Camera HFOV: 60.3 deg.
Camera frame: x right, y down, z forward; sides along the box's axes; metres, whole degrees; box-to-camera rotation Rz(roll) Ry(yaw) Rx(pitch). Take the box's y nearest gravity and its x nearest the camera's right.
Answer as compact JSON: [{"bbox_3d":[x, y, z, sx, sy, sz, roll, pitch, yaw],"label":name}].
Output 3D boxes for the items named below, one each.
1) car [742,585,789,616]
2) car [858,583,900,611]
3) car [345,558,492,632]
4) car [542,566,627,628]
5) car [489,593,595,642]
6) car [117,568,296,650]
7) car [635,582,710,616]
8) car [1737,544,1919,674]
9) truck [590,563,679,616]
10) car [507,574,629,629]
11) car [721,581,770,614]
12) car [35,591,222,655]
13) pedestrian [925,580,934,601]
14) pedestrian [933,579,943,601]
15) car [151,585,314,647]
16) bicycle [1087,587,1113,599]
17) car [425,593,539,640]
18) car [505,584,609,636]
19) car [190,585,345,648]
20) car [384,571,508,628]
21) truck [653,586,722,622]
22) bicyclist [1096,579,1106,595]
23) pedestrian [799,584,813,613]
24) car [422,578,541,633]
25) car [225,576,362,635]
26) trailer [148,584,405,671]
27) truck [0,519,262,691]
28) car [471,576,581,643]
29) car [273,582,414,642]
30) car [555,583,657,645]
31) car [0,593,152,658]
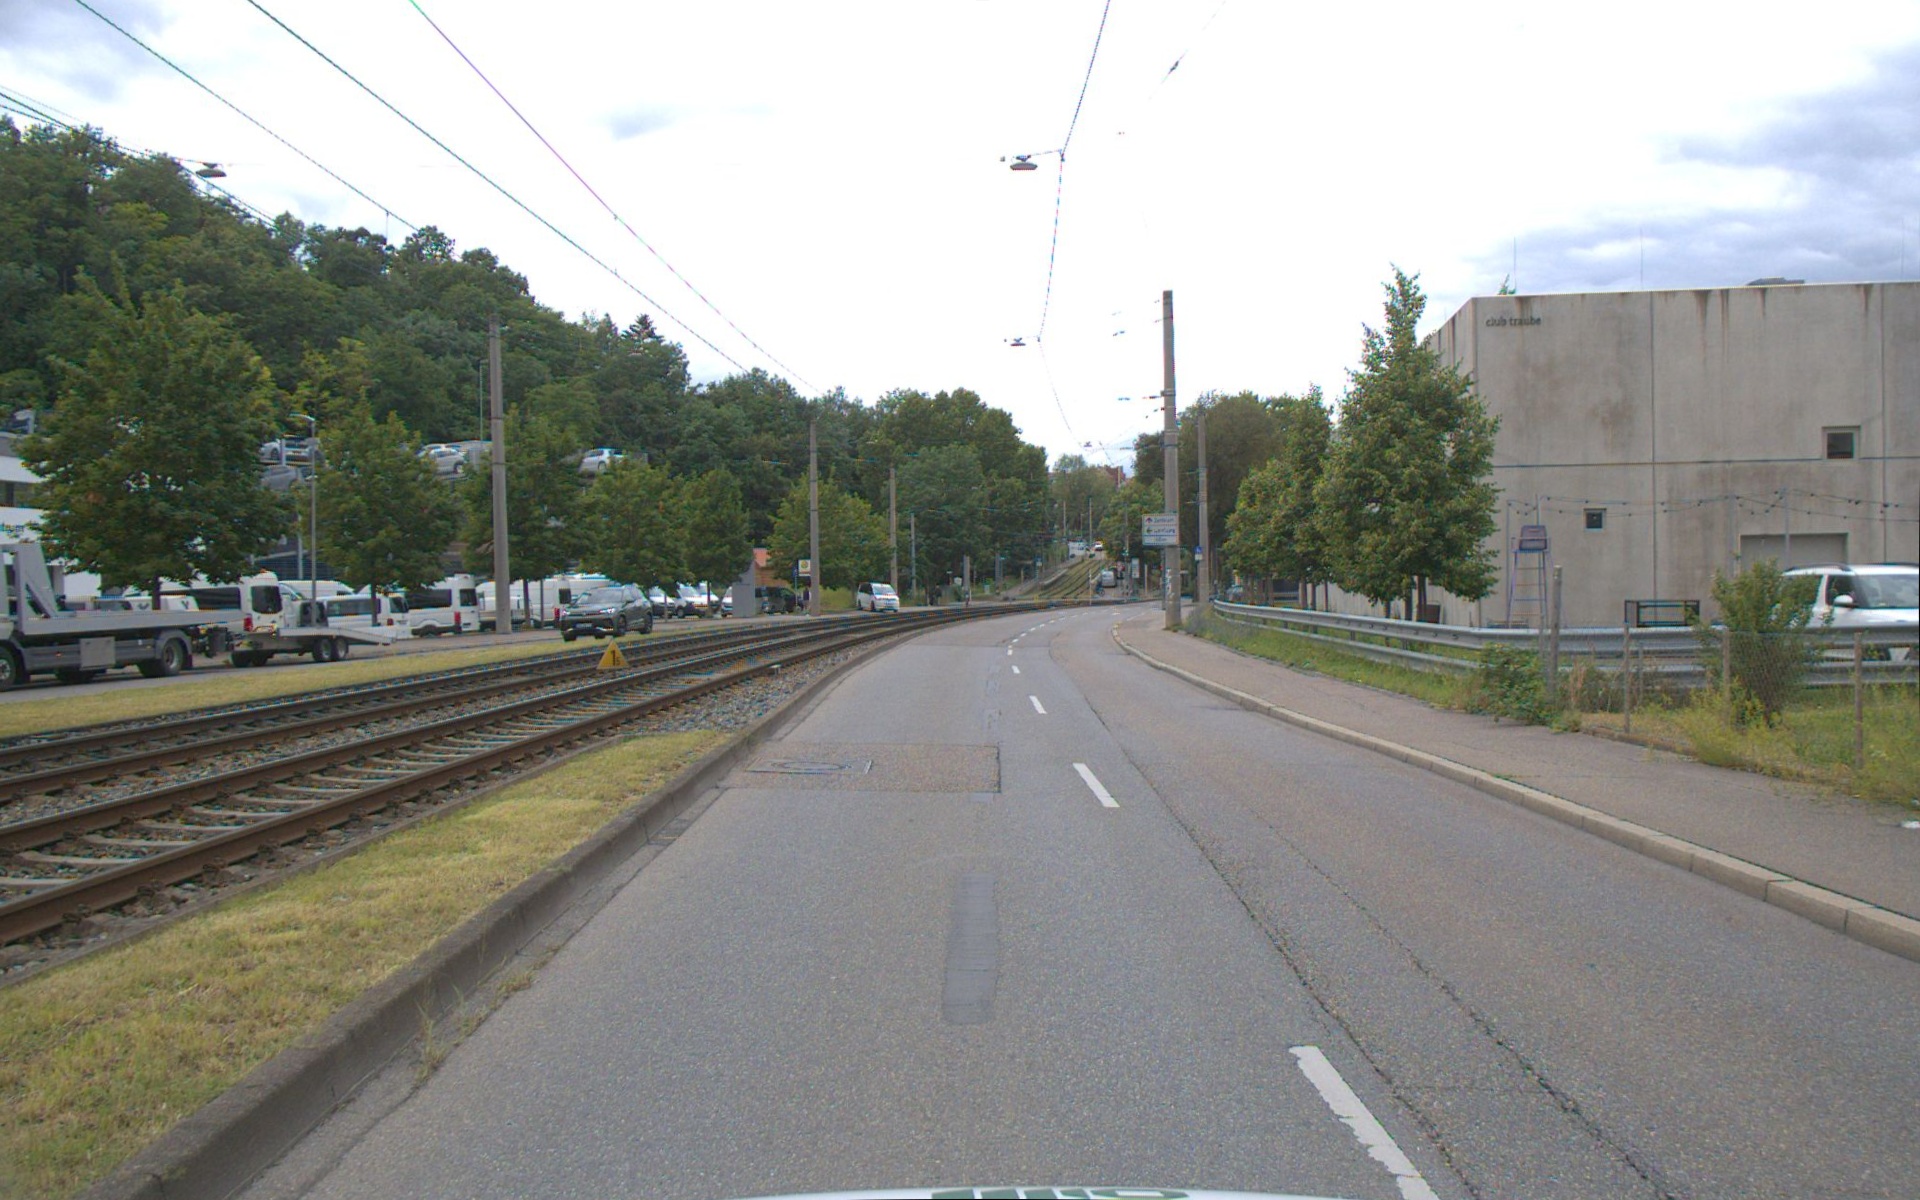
[{"bbox_3d":[-13.300,-0.015,113.447,1.951,2.049,5.134,-1,0,8],"label":"car"},{"bbox_3d":[-5.790,-0.238,118.274,2.122,1.921,5.056,1,1,-13],"label":"car"},{"bbox_3d":[-20.762,-0.193,63.524,4.860,2.745,2.117,-1,0,5],"label":"car"},{"bbox_3d":[-19.650,-0.181,86.747,2.062,3.072,5.942,-1,0,11],"label":"car"},{"bbox_3d":[-19.191,0.789,76.004,4.273,2.142,2.005,-1,0,5],"label":"car"},{"bbox_3d":[-22.433,0.264,49.340,4.400,2.351,2.127,-1,0,10],"label":"car"},{"bbox_3d":[-17.979,-0.037,103.443,4.637,2.049,1.992,-1,0,37],"label":"car"},{"bbox_3d":[12.526,0.081,22.680,1.713,1.601,4.431,1,1,1],"label":"car"},{"bbox_3d":[-20.052,-0.632,101.765,5.826,3.139,2.110,-1,0,39],"label":"truck"},{"bbox_3d":[-19.288,0.067,81.529,5.355,2.647,2.249,-1,0,9],"label":"car"},{"bbox_3d":[-13.906,-0.182,107.437,1.951,2.049,4.923,-1,0,7],"label":"car"},{"bbox_3d":[-23.485,0.640,46.784,4.273,1.718,2.033,-1,0,6],"label":"car"},{"bbox_3d":[-2.602,-0.838,142.098,0.614,1.743,0.856,1,1,12],"label":"pedestrian"},{"bbox_3d":[-1.865,-0.857,142.093,0.662,1.844,0.856,1,1,12],"label":"pedestrian"},{"bbox_3d":[-22.866,0.496,52.023,4.272,1.877,2.006,-1,0,10],"label":"car"},{"bbox_3d":[16.842,-0.849,198.981,2.930,1.367,0.825,-1,0,-8],"label":"bicycle"},{"bbox_3d":[-20.622,0.713,71.480,4.273,1.944,2.005,-1,0,5],"label":"car"},{"bbox_3d":[-19.100,0.454,78.494,4.274,2.141,2.005,4,1,5],"label":"car"},{"bbox_3d":[-22.689,0.543,54.274,4.272,1.981,2.006,-1,0,10],"label":"car"},{"bbox_3d":[-20.533,-0.019,66.148,4.273,2.211,2.005,-1,0,5],"label":"car"},{"bbox_3d":[-21.152,0.320,128.167,4.968,2.633,2.461,-1,0,35],"label":"truck"},{"bbox_3d":[16.997,-1.519,198.998,1.028,1.881,0.822,-2,1,-8],"label":"bicyclist"},{"bbox_3d":[-9.273,-0.084,99.690,0.703,1.684,1.043,1,1,2],"label":"pedestrian"},{"bbox_3d":[-19.823,0.221,68.580,4.273,2.211,2.005,-1,0,5],"label":"car"},{"bbox_3d":[-31.184,0.230,77.558,5.847,2.647,1.992,-1,0,-21],"label":"car"},{"bbox_3d":[-15.593,0.551,38.349,2.332,1.727,6.953,-3,0,7],"label":"trailer"},{"bbox_3d":[-16.591,0.110,30.312,2.698,2.789,9.226,-3,0,6],"label":"truck"},{"bbox_3d":[-19.332,0.409,73.736,4.273,2.868,2.005,-1,0,5],"label":"car"},{"bbox_3d":[-22.121,0.419,59.462,4.273,2.045,2.005,-1,0,5],"label":"car"},{"bbox_3d":[-11.022,0.437,51.821,1.952,1.769,4.536,-3,0,3],"label":"car"},{"bbox_3d":[-24.232,0.679,44.297,4.272,1.646,2.006,-1,0,10],"label":"car"}]
